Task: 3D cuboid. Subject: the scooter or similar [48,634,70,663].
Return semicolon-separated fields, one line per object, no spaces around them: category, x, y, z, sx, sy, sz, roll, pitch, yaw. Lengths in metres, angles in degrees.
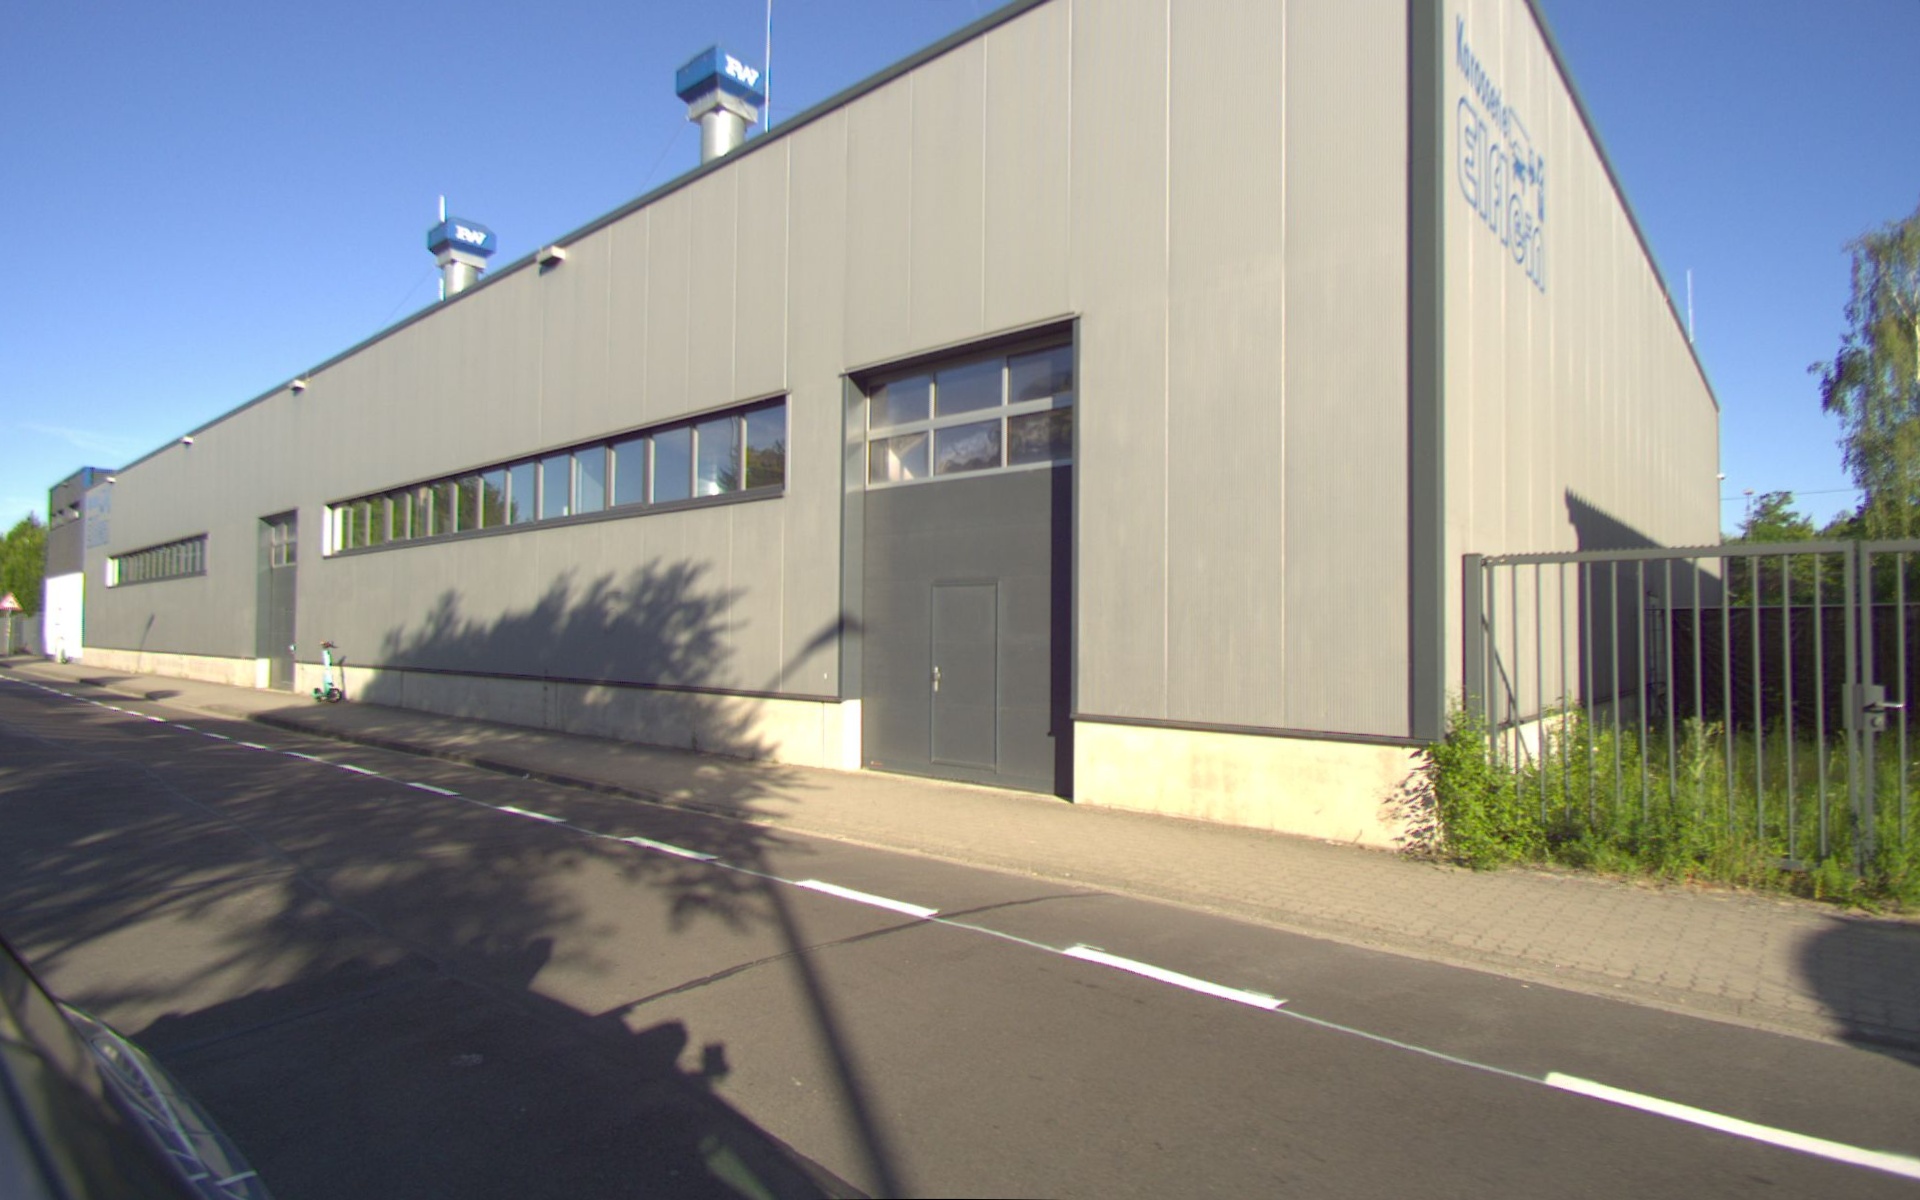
scooter or similar;-38.674;2.067;43.443;1.753;1.212;0.501;-1;1;42

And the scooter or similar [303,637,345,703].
scooter or similar;-12.879;1.400;20.483;1.059;1.277;0.411;-2;-3;41
